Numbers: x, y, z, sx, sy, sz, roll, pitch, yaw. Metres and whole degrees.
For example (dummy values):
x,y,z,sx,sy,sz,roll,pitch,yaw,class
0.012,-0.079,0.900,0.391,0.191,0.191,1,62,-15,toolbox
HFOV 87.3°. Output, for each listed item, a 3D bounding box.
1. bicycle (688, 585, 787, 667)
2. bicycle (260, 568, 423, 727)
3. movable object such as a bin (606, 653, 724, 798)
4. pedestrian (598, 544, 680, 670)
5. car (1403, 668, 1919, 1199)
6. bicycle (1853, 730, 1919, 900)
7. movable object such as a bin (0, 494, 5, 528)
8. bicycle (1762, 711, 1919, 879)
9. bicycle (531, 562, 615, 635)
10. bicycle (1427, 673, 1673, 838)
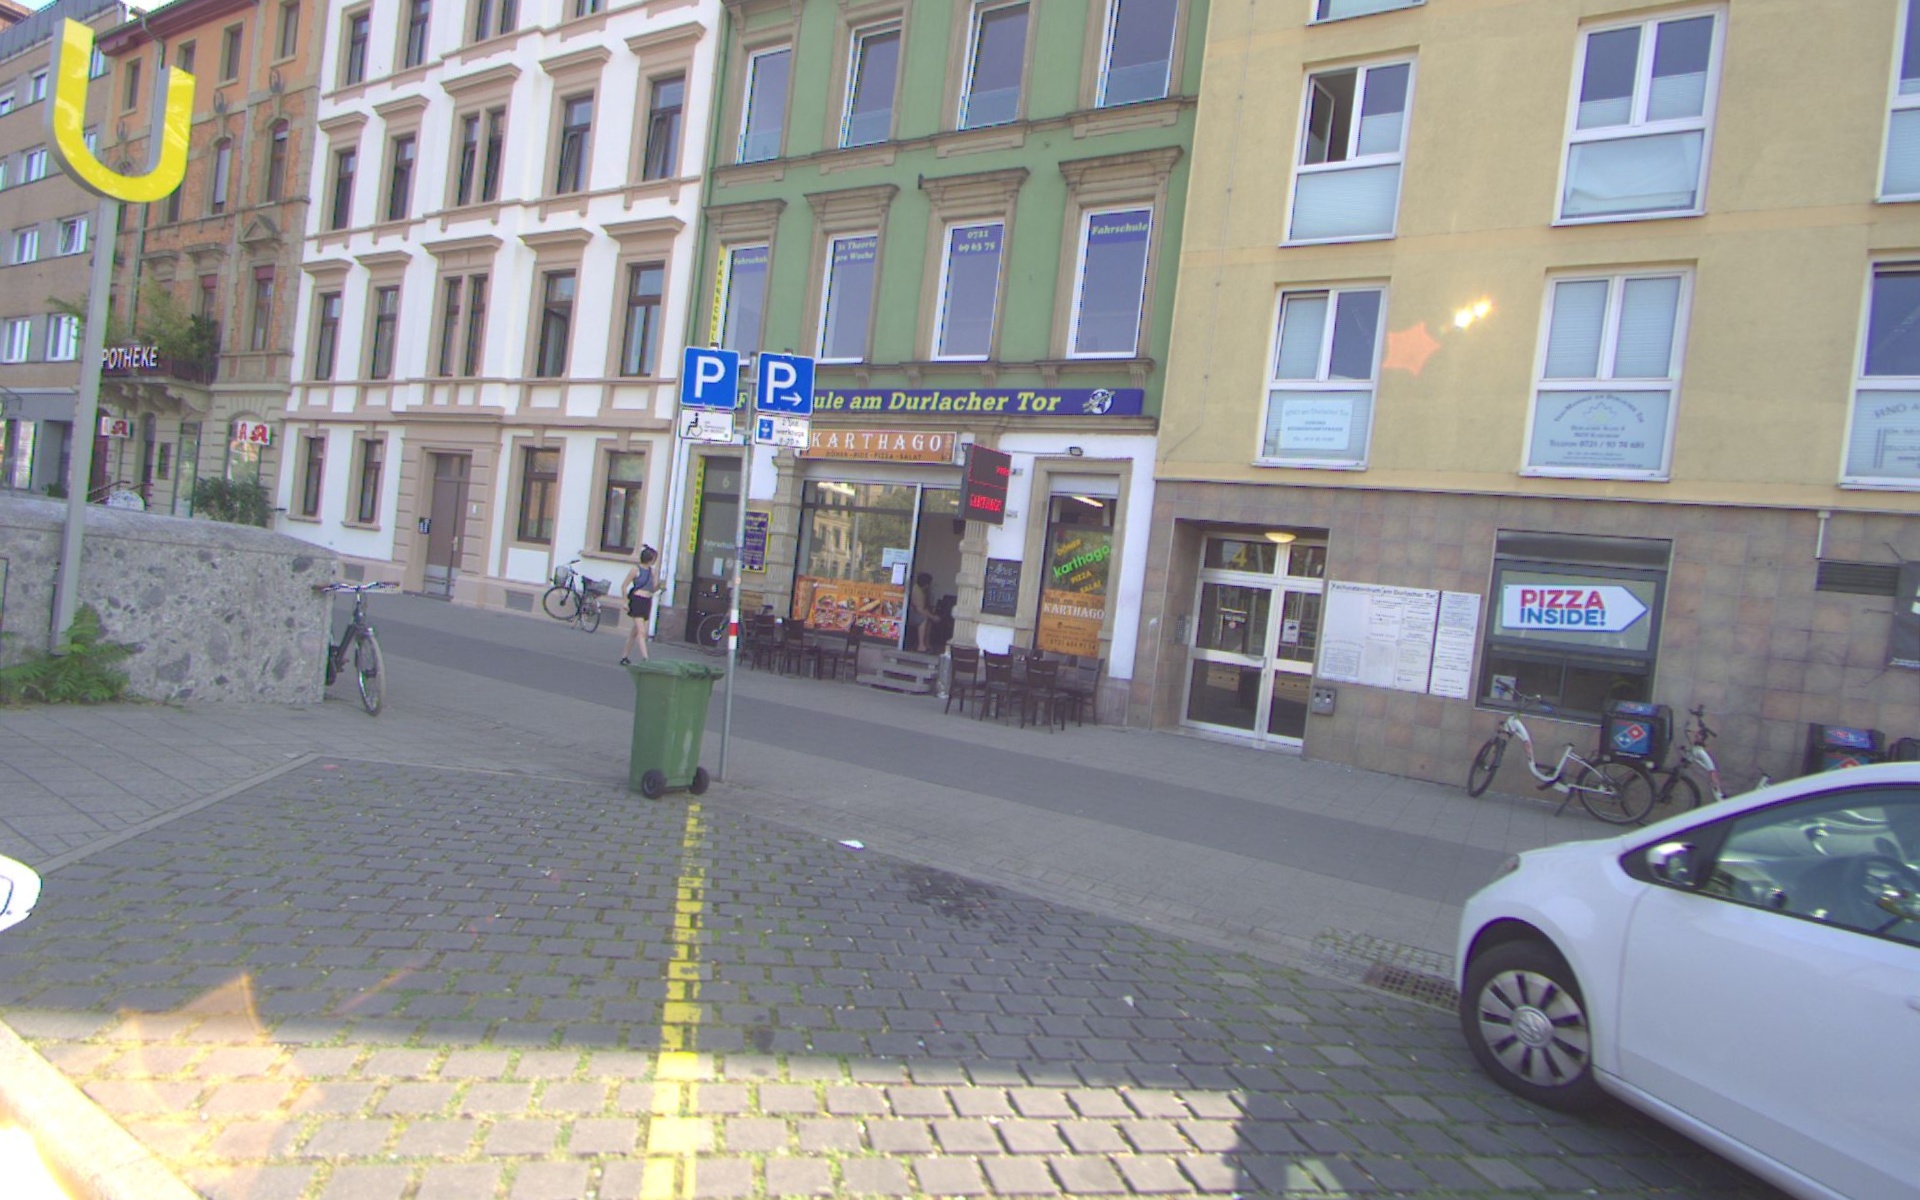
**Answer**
x,y,z,sx,sy,sz,roll,pitch,yaw,class
-3.694,0.414,16.624,1.691,1.148,0.384,7,1,32,bicycle
-5.426,0.384,8.783,1.760,1.148,0.384,7,1,32,bicycle
-2.082,0.869,7.103,0.528,0.914,0.490,7,1,34,movable object such as a bin
-4.465,0.106,14.006,0.725,1.650,0.609,7,1,31,pedestrian
3.065,1.141,2.698,1.596,1.482,3.522,7,0,-10,car
8.467,1.833,7.898,1.961,1.277,0.604,7,1,23,bicycle
-31.584,-2.941,32.494,0.657,1.094,0.739,7,1,14,movable object such as a bin
8.475,1.781,8.875,1.961,1.277,0.604,7,1,23,bicycle
-7.103,-0.040,18.430,1.691,1.148,0.384,7,1,32,bicycle
5.916,1.517,10.193,1.964,1.277,0.603,7,1,31,bicycle
